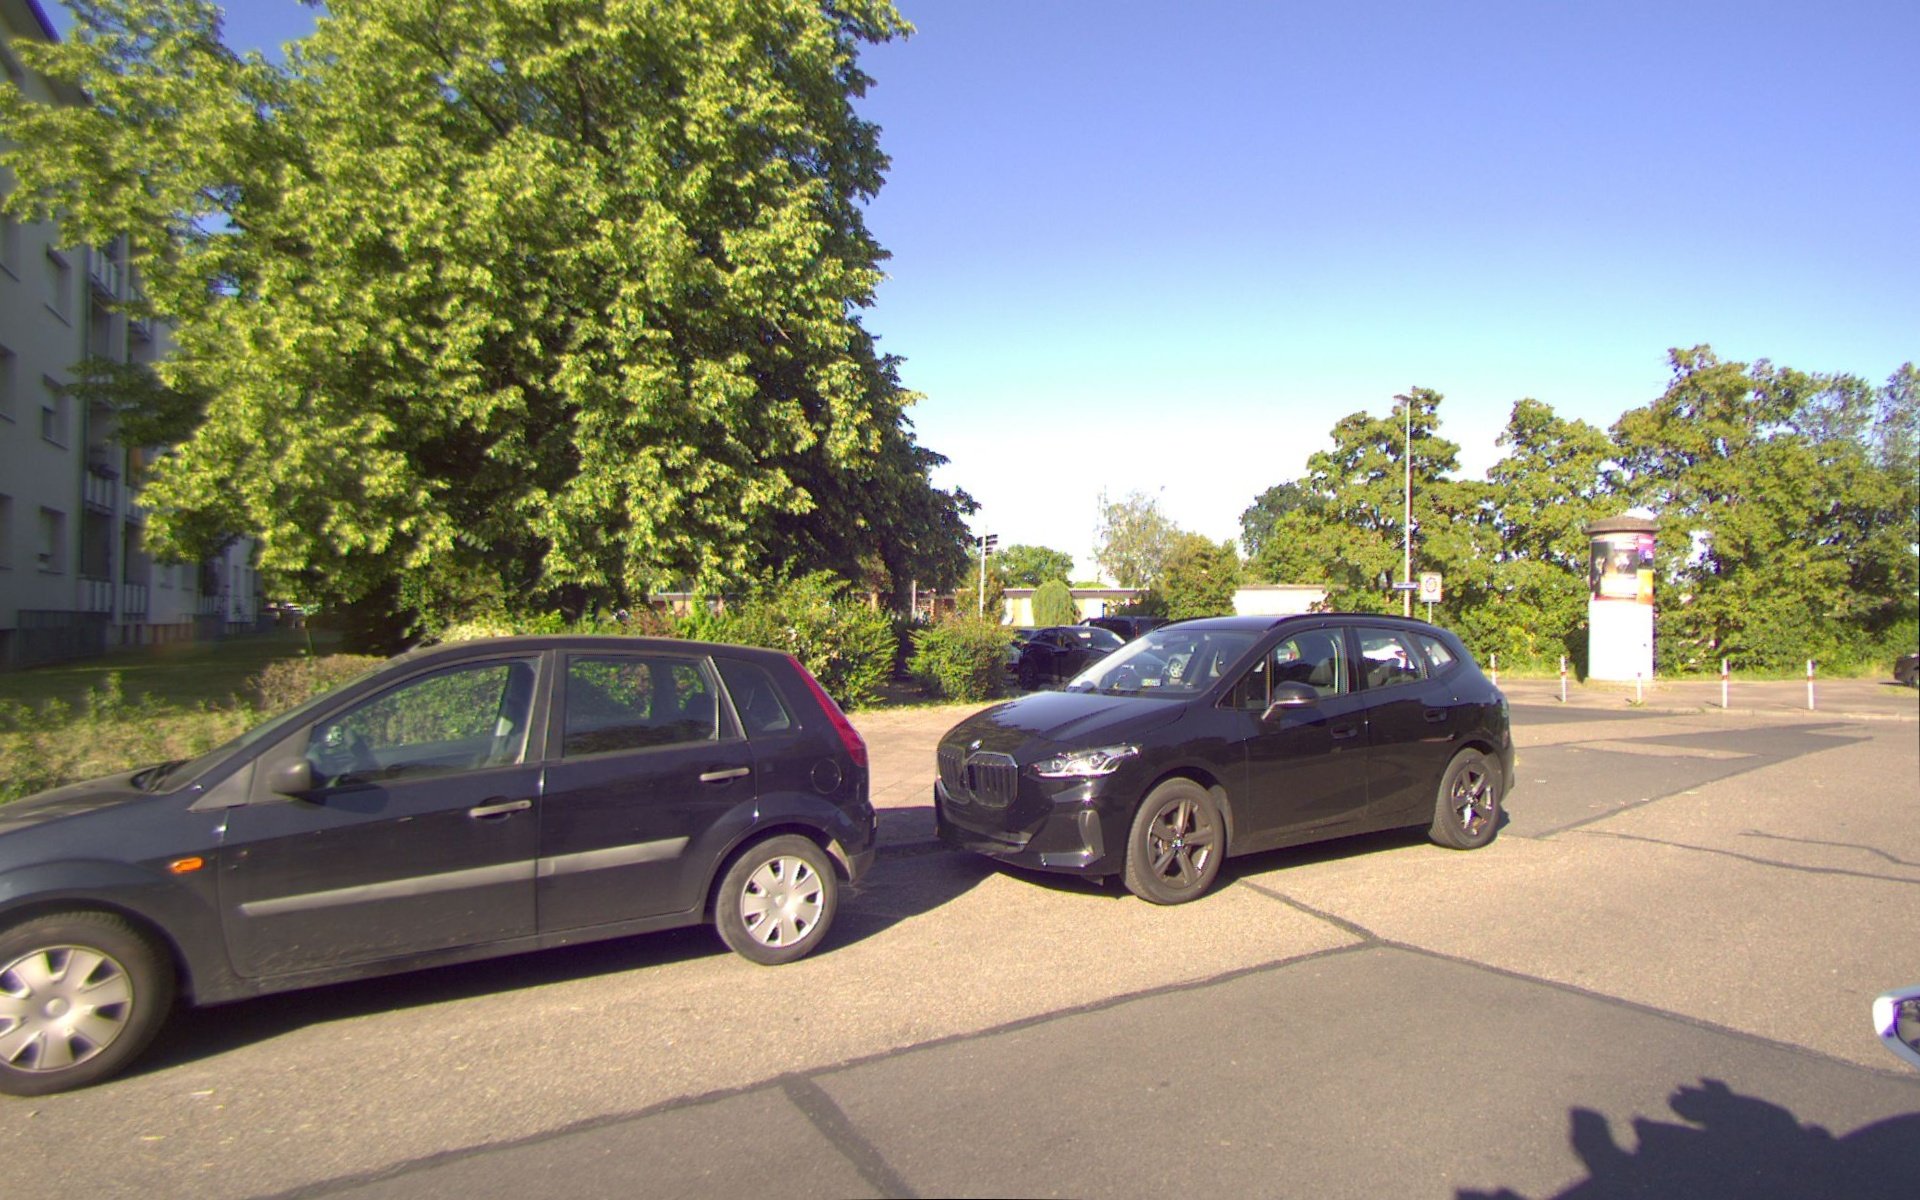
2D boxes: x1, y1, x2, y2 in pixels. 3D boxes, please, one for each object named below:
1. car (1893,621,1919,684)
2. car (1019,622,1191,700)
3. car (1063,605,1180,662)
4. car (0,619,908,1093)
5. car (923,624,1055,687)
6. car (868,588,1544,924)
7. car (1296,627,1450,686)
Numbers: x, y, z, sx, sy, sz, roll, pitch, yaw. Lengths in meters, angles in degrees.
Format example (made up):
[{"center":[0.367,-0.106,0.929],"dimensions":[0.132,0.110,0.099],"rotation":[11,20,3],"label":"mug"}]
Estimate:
[{"center":[27.511,1.498,26.306],"dimensions":[1.826,1.678,4.164],"rotation":[2,0,-32],"label":"car"},{"center":[3.135,1.317,22.415],"dimensions":[1.727,1.563,3.894],"rotation":[2,-3,-32],"label":"car"},{"center":[5.656,1.207,35.592],"dimensions":[1.719,1.879,4.307],"rotation":[2,-3,-32],"label":"car"},{"center":[-2.199,0.854,4.496],"dimensions":[3.611,1.455,1.616],"rotation":[1,-3,-30],"label":"car"},{"center":[0.707,1.471,27.125],"dimensions":[1.727,1.563,3.894],"rotation":[2,-3,-32],"label":"car"},{"center":[1.740,0.827,6.684],"dimensions":[4.372,1.594,1.772],"rotation":[1,-3,-30],"label":"car"},{"center":[10.984,1.483,26.896],"dimensions":[1.719,1.481,3.500],"rotation":[2,-3,-32],"label":"car"}]
